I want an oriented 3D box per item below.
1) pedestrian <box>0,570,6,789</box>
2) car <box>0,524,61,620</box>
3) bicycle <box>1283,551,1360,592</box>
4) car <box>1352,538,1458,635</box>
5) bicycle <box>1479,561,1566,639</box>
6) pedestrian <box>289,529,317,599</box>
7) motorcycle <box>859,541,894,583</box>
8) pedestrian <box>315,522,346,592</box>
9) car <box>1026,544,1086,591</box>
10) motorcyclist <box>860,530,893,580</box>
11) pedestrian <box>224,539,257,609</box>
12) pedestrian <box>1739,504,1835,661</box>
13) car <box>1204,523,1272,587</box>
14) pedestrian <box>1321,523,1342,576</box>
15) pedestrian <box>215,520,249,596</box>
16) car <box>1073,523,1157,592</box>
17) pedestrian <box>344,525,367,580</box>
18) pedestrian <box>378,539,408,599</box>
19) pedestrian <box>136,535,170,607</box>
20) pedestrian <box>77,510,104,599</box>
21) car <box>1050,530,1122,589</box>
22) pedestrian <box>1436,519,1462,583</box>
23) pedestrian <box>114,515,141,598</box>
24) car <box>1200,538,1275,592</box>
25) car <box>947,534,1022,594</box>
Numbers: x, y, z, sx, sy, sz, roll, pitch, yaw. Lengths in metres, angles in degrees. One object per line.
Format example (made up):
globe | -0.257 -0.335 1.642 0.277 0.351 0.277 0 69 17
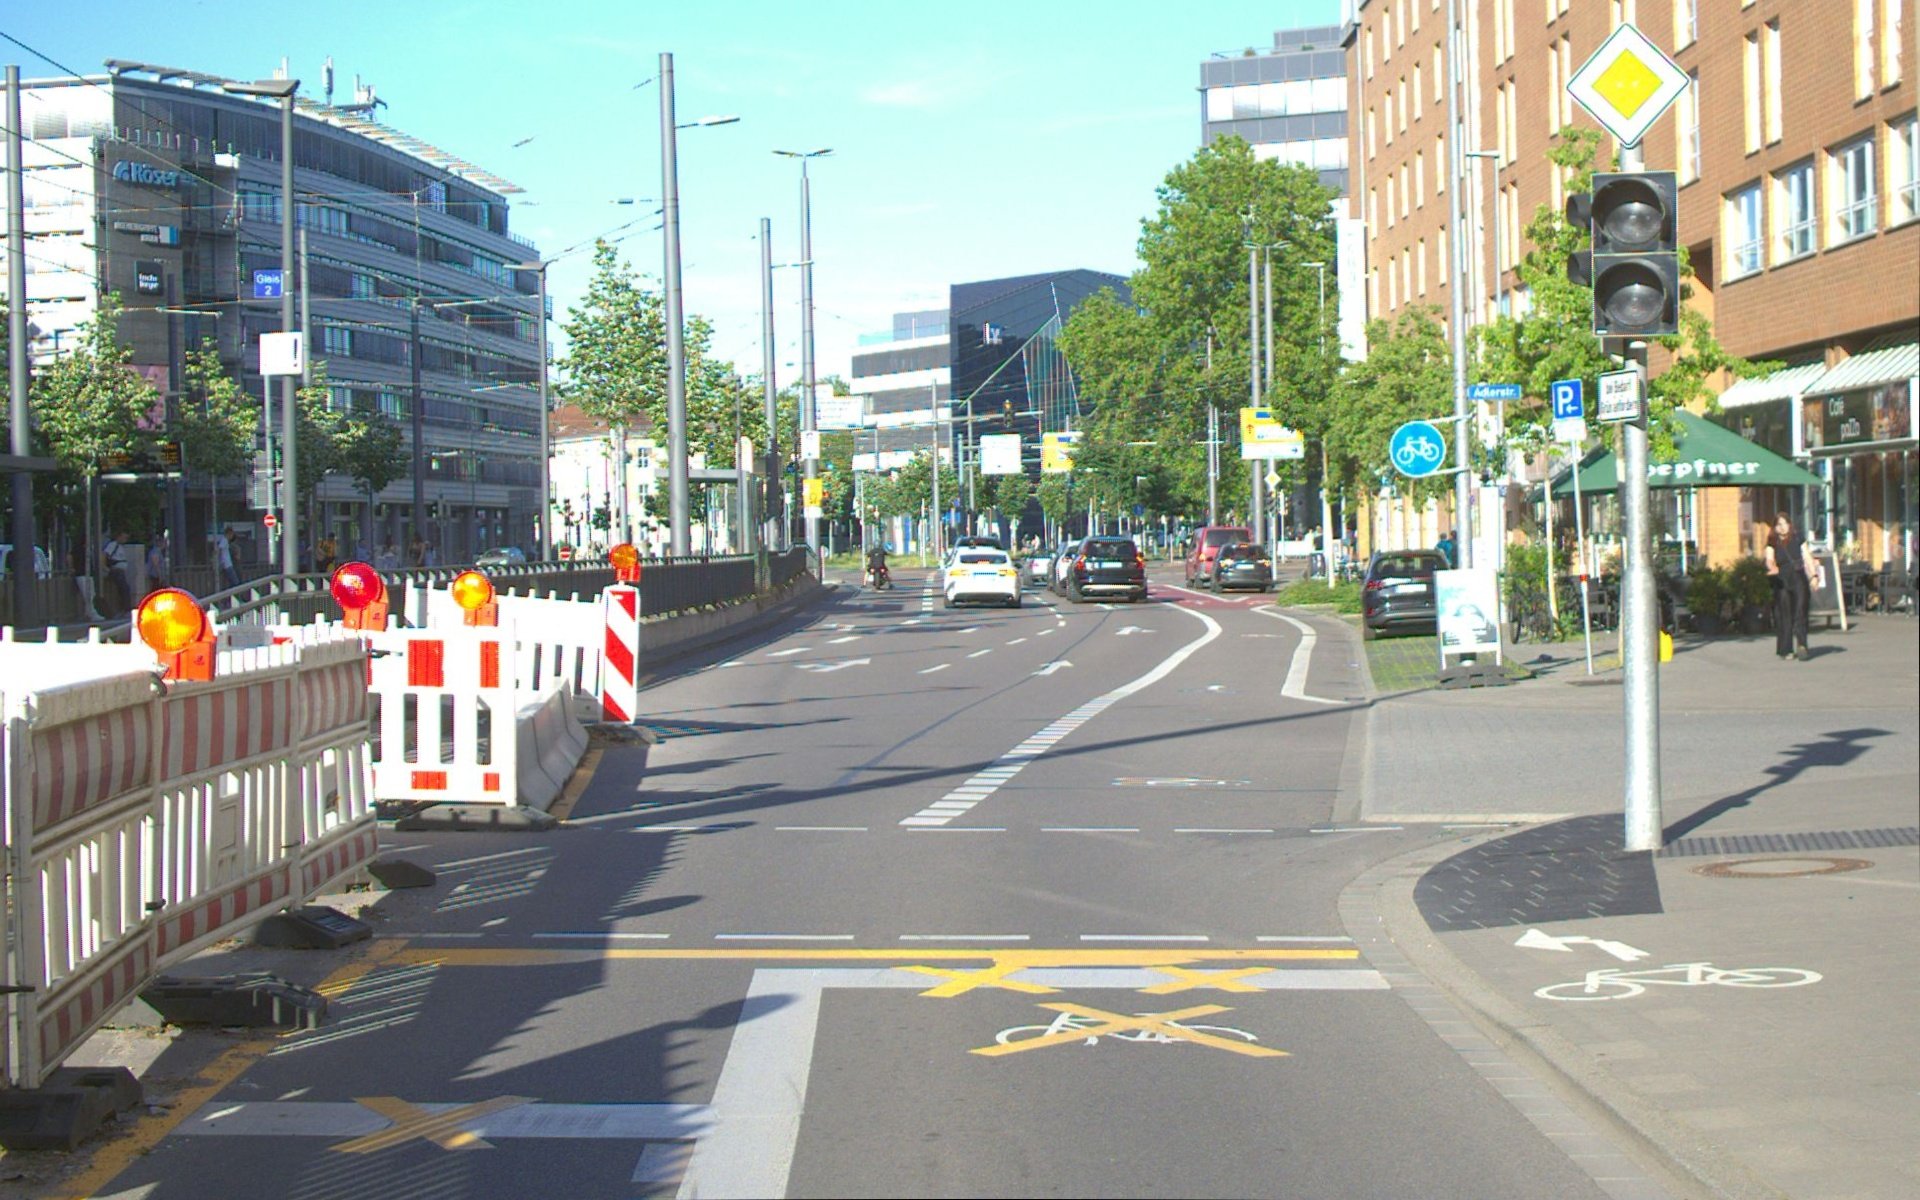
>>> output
pedestrian | -5.079 0.209 16.392 0.789 1.452 0.947 -1 1 -2
car | -19.566 -0.565 69.116 1.993 1.874 4.584 -1 1 -3
bicycle | 9.587 -0.756 91.165 1.946 1.019 0.501 -2 0 17
car | 7.948 -0.269 61.676 1.721 1.631 4.230 -2 1 6
bicycle | 8.457 0.005 51.746 0.765 1.077 1.998 -6 0 -4
pedestrian | -16.364 -0.893 85.639 0.581 1.732 0.616 0 1 0
motorcycle | -2.679 -1.227 110.812 1.019 1.307 2.915 1 1 0
pedestrian | -15.287 -1.055 83.547 0.640 1.690 0.541 1 1 0
car | 3.215 -1.112 115.565 1.851 1.492 4.379 0 1 0
motorcyclist | -2.682 -1.460 110.805 1.019 1.598 1.148 1 1 0
pedestrian | -16.498 -0.605 78.838 0.622 1.606 0.616 0 1 0
pedestrian | 9.639 -0.207 40.057 0.885 1.757 1.104 -3 0 20
car | 8.840 -1.450 109.488 1.860 1.954 4.000 2 1 1
pedestrian | 12.716 -1.721 117.773 0.606 1.815 0.748 -1 1 -1
pedestrian | -16.535 -0.952 78.078 0.622 1.709 0.616 0 1 0
car | 4.058 -1.137 90.589 1.975 1.753 4.633 1 1 0
pedestrian | -17.632 -1.387 100.332 0.563 1.603 0.616 0 1 0
pedestrian | -15.735 -0.869 95.410 0.640 1.637 0.945 1 1 0
pedestrian | -16.354 -0.587 69.673 0.539 1.454 0.642 1 1 0
pedestrian | -16.231 -0.846 64.198 0.378 1.642 0.416 1 1 0
car | 3.570 -1.160 98.288 1.851 1.634 4.379 0 1 0
pedestrian | 13.977 -1.405 98.232 0.606 1.815 0.748 0 1 -1
pedestrian | -16.219 -0.848 67.014 0.378 1.616 0.553 1 1 0
car | 8.268 -1.074 102.875 1.846 1.555 4.633 1 1 0
car | 0.576 -0.905 84.979 1.780 1.409 4.819 1 1 0
